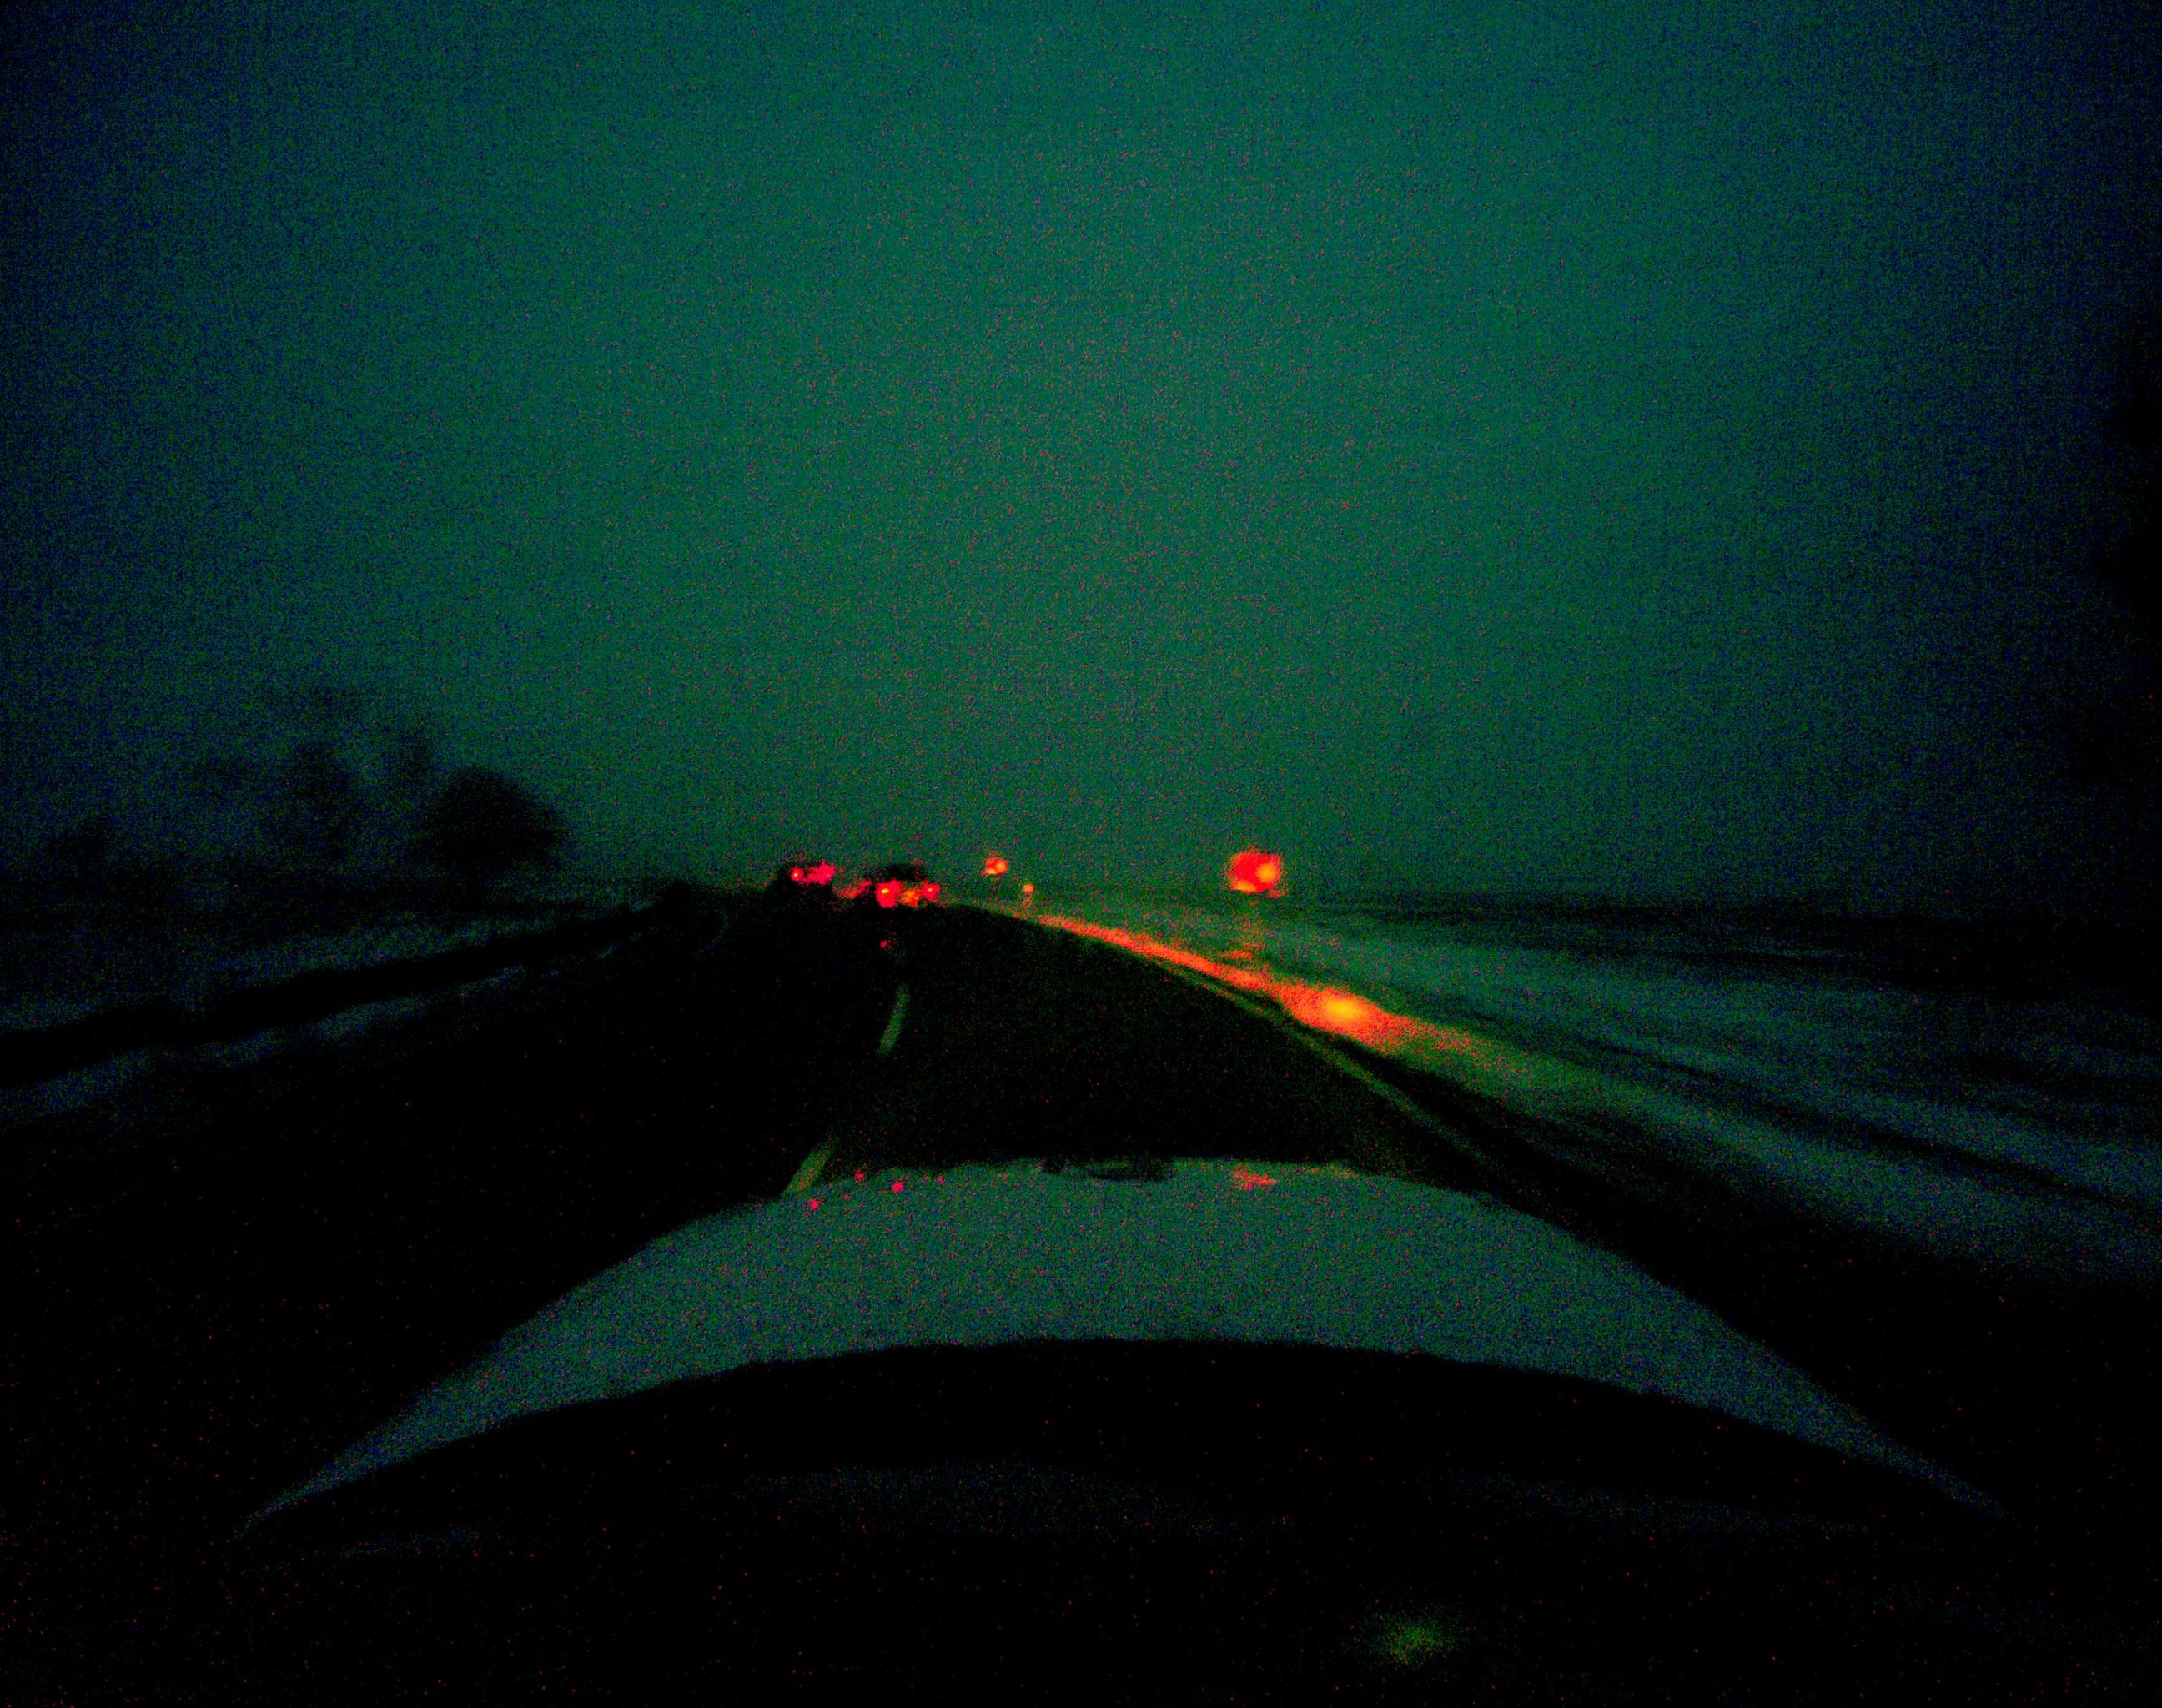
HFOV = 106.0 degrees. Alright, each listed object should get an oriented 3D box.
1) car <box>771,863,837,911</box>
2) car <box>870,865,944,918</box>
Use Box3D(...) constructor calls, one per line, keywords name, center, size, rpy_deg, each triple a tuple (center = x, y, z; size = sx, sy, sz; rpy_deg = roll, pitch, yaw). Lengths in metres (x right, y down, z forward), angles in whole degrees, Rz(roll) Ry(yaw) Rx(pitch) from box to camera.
Box3D(name="car", center=(-11.505, 1.333, 33.679), size=(2.005, 1.783, 3.964), rpy_deg=(-2, -1, -27))
Box3D(name="car", center=(-5.223, 1.066, 24.217), size=(1.949, 1.381, 3.980), rpy_deg=(-1, -1, -14))
